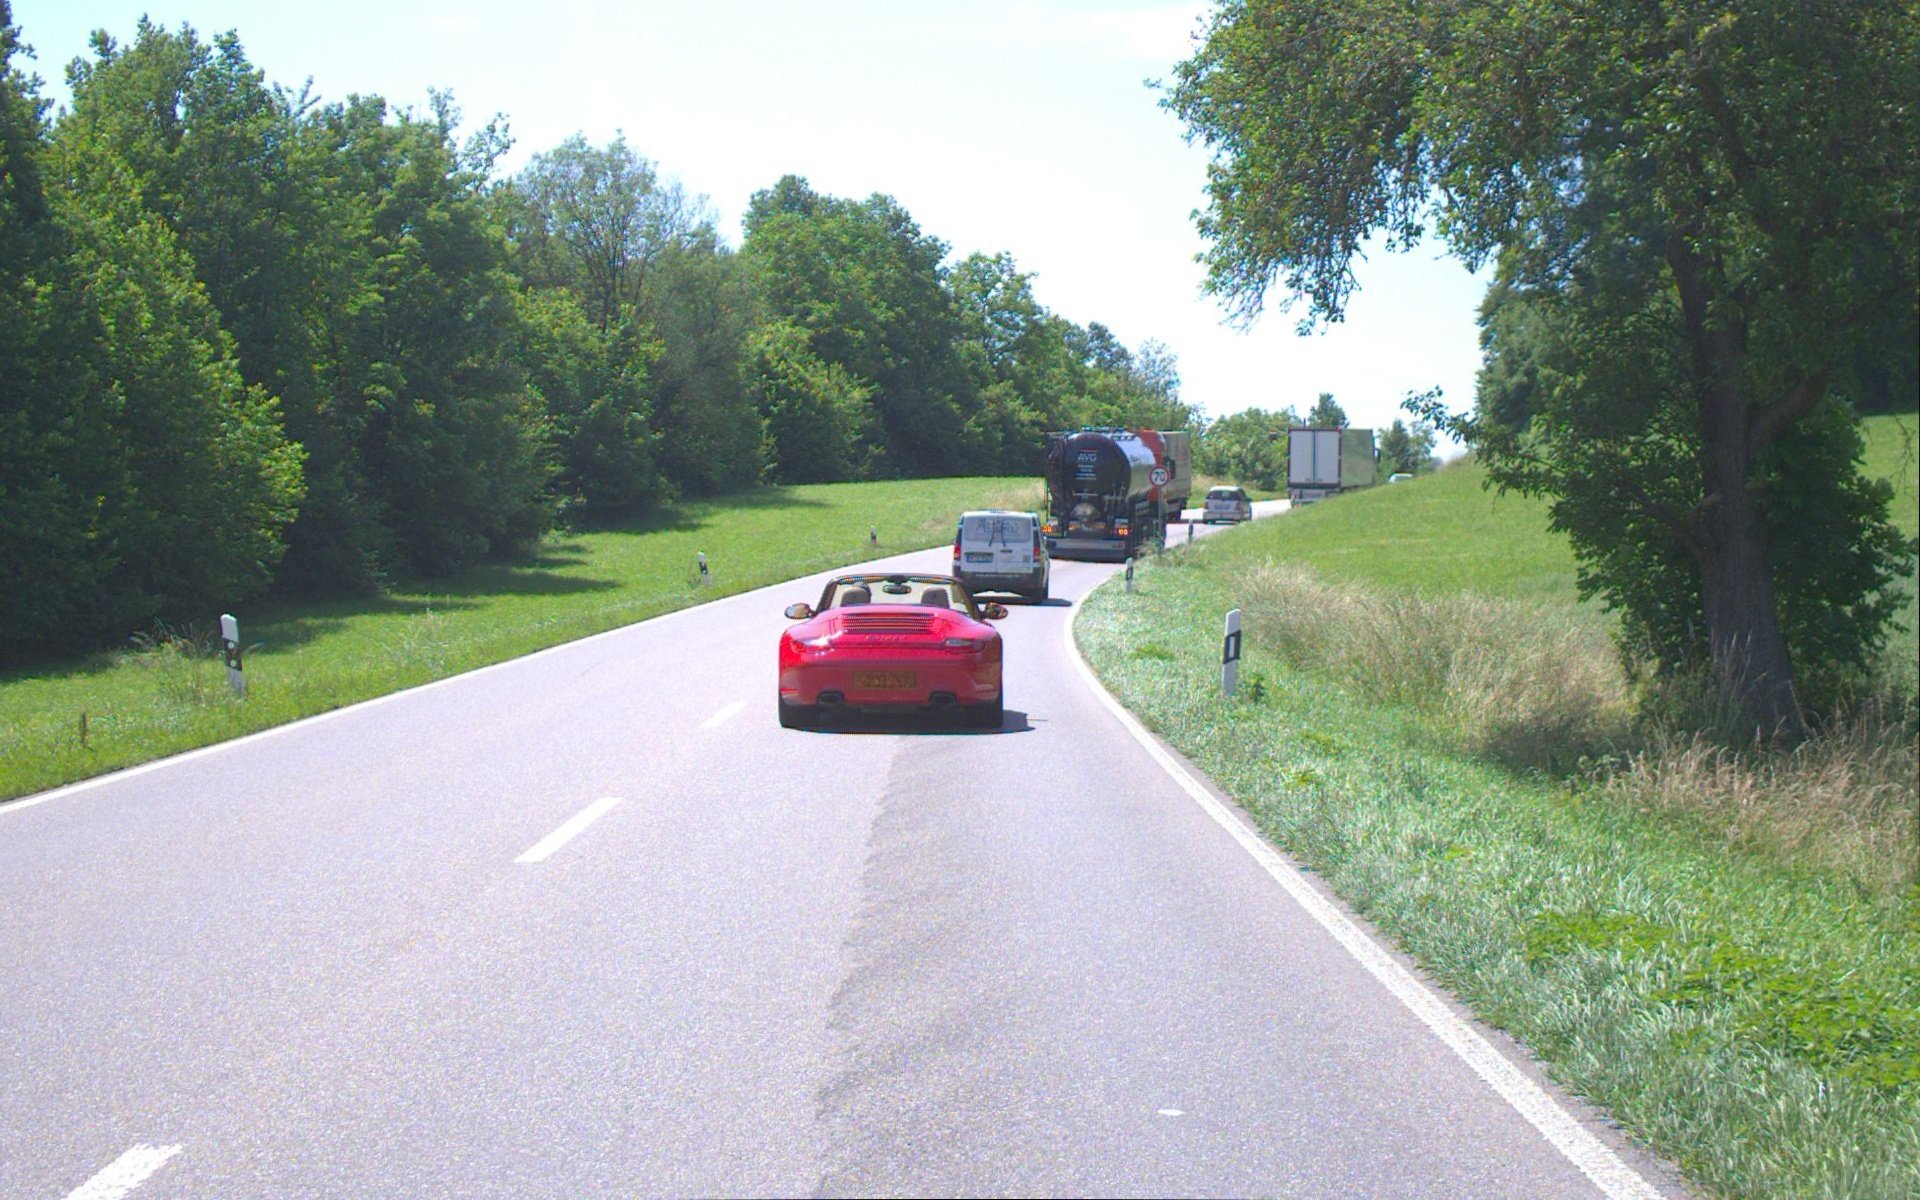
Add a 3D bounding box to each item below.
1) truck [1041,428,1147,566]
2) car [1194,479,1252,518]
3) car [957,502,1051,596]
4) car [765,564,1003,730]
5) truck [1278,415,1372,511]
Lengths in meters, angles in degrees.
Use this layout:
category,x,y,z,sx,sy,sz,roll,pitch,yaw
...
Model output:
category,x,y,z,sx,sy,sz,roll,pitch,yaw
truck,4.250,-3.154,106.750,2.404,4.036,12.548,0,1,6
car,10.815,-4.185,141.131,1.832,1.508,4.189,0,3,12
car,0.955,-1.100,72.498,1.679,1.894,4.009,1,2,5
car,-0.640,0.355,29.434,1.882,1.250,4.010,1,1,-1
truck,18.486,-6.950,173.332,3.727,4.644,12.026,0,3,11
